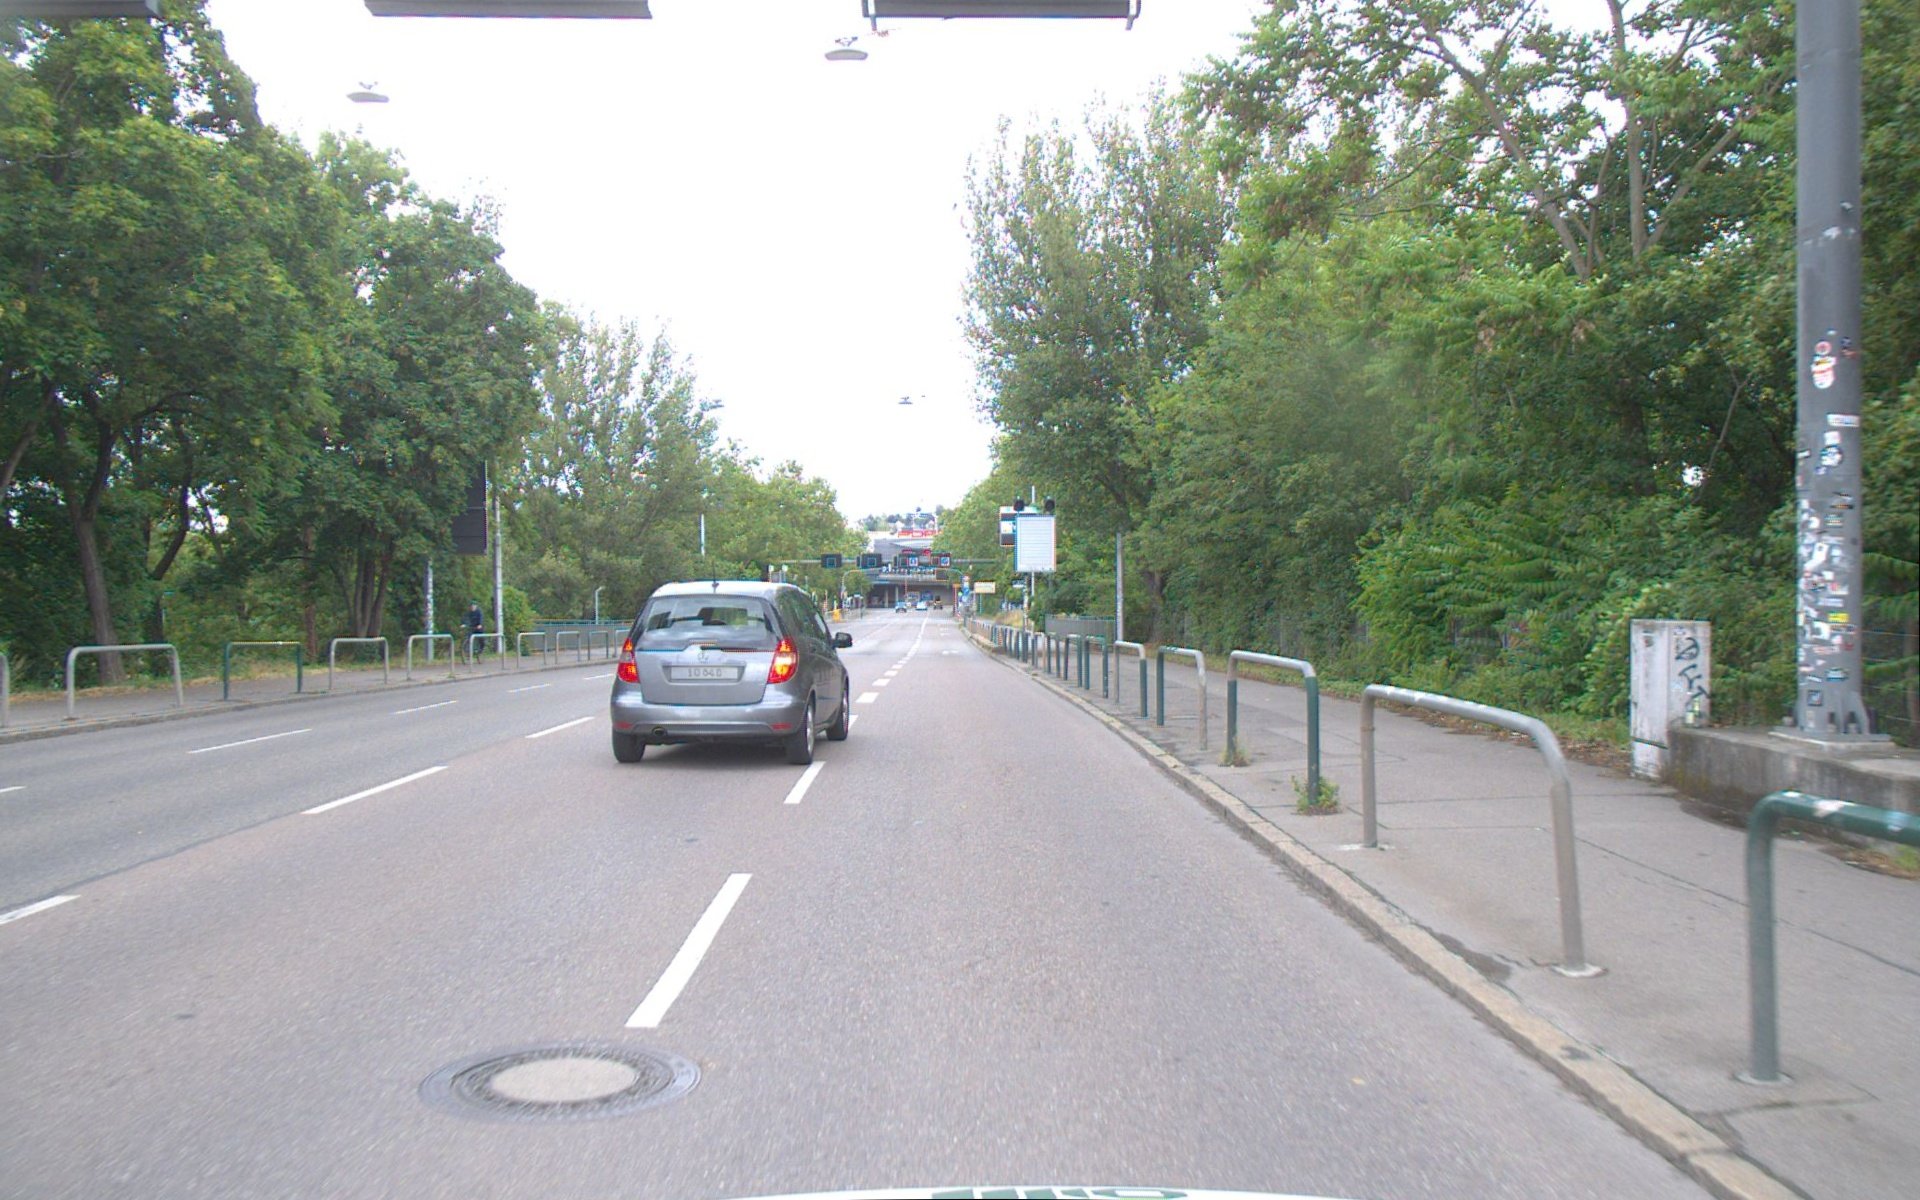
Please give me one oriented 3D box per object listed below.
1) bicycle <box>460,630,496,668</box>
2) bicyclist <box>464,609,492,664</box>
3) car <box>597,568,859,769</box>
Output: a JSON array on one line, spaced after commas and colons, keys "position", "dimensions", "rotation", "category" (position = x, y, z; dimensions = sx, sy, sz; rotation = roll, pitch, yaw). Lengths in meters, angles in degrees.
[{"position": [-13.637, 1.385, 46.840], "dimensions": [0.475, 1.019, 2.001], "rotation": [-1, 0, -2], "category": "bicycle"}, {"position": [-13.634, 1.023, 46.776], "dimensions": [0.504, 1.543, 0.984], "rotation": [-1, -1, -2], "category": "bicyclist"}, {"position": [-2.047, 0.599, 15.723], "dimensions": [1.788, 1.645, 4.034], "rotation": [1, -1, 2], "category": "car"}]
